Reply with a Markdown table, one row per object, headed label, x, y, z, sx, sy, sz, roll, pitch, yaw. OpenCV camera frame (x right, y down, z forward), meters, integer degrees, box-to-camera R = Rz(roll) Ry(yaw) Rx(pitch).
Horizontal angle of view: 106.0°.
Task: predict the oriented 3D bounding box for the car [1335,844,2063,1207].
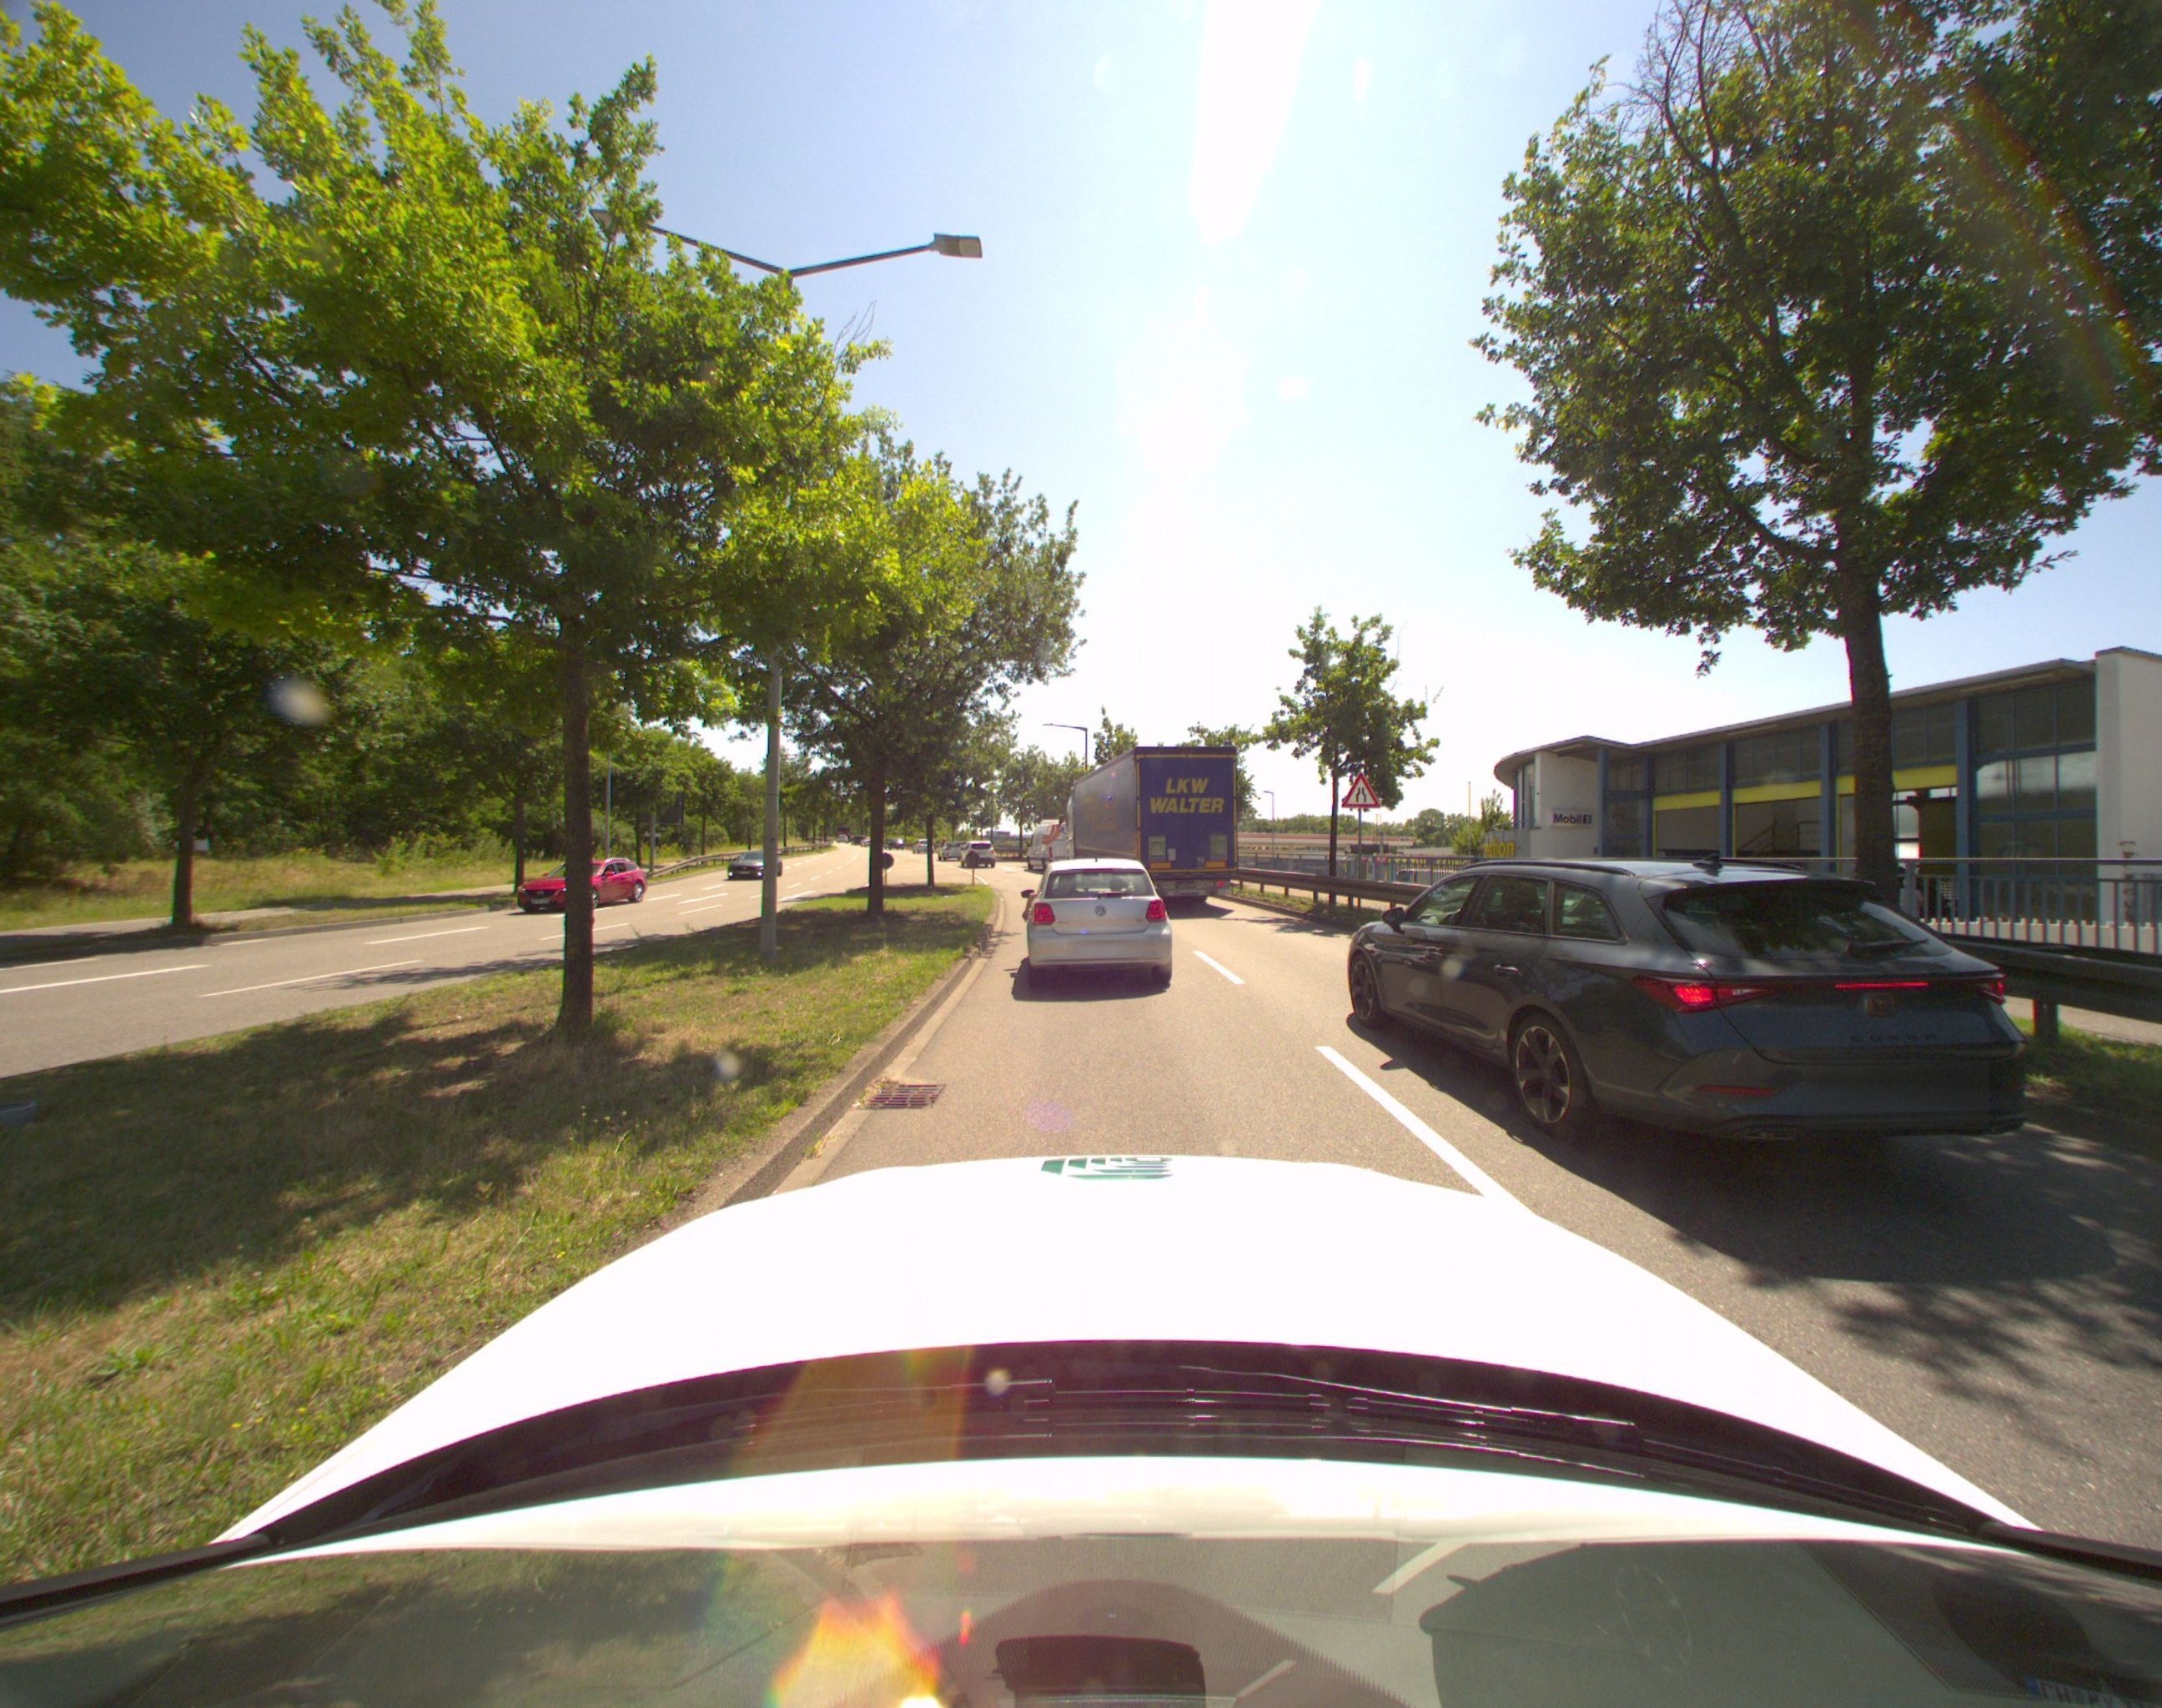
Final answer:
| label | x | y | z | sx | sy | sz | roll | pitch | yaw |
| --- | --- | --- | --- | --- | --- | --- | --- | --- | --- |
| car | 3.173 | 0.709 | 5.423 | 1.600 | 1.456 | 4.233 | 0 | -1 | -1 |

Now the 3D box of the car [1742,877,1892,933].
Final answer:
| label | x | y | z | sx | sy | sz | roll | pitch | yaw |
| --- | --- | --- | --- | --- | --- | --- | --- | --- | --- |
| car | 23.745 | 1.605 | 26.323 | 3.665 | 1.684 | 1.646 | 0 | -1 | -8 |

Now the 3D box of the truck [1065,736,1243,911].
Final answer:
| label | x | y | z | sx | sy | sz | roll | pitch | yaw |
| --- | --- | --- | --- | --- | --- | --- | --- | --- | --- |
| truck | 1.643 | -0.755 | 27.971 | 2.830 | 4.198 | 16.436 | 0 | 0 | -7 |

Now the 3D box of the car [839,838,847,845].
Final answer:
| label | x | y | z | sx | sy | sz | roll | pitch | yaw |
| --- | --- | --- | --- | --- | --- | --- | --- | --- | --- |
| car | -43.535 | -2.339 | 148.856 | 1.324 | 1.139 | 2.978 | 0 | -1 | -17 |

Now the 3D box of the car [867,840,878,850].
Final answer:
| label | x | y | z | sx | sy | sz | roll | pitch | yaw |
| --- | --- | --- | --- | --- | --- | --- | --- | --- | --- |
| car | -29.625 | -1.269 | 115.714 | 1.459 | 1.314 | 3.618 | 0 | -1 | -16 |

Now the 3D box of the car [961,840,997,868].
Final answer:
| label | x | y | z | sx | sy | sz | roll | pitch | yaw |
| --- | --- | --- | --- | --- | --- | --- | --- | --- | --- |
| car | -6.548 | 0.028 | 51.969 | 1.906 | 1.718 | 4.204 | 0 | -1 | -13 |

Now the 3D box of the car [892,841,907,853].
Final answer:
| label | x | y | z | sx | sy | sz | roll | pitch | yaw |
| --- | --- | --- | --- | --- | --- | --- | --- | --- | --- |
| car | -22.795 | -0.857 | 102.111 | 1.668 | 1.465 | 3.561 | 0 | -1 | -16 |

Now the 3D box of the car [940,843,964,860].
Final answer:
| label | x | y | z | sx | sy | sz | roll | pitch | yaw |
| --- | --- | --- | --- | --- | --- | --- | --- | --- | --- |
| car | -10.274 | -0.212 | 64.652 | 1.497 | 1.360 | 3.643 | 0 | 0 | -16 |

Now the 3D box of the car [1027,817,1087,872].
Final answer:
| label | x | y | z | sx | sy | sz | roll | pitch | yaw |
| --- | --- | --- | --- | --- | --- | --- | --- | --- | --- |
| car | -1.439 | -0.551 | 45.727 | 2.178 | 2.900 | 6.330 | 0 | 1 | -13 |

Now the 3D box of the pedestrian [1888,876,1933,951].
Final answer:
| label | x | y | z | sx | sy | sz | roll | pitch | yaw |
| --- | --- | --- | --- | --- | --- | --- | --- | --- | --- |
| pedestrian | 19.383 | 1.376 | 19.036 | 0.425 | 1.703 | 0.589 | 0 | -1 | -4 |

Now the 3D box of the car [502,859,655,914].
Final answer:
| label | x | y | z | sx | sy | sz | roll | pitch | yaw |
| --- | --- | --- | --- | --- | --- | --- | --- | --- | --- |
| car | -14.983 | 0.912 | 24.624 | 1.825 | 1.437 | 4.524 | -2 | -1 | -1 |

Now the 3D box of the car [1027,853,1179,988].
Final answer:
| label | x | y | z | sx | sy | sz | roll | pitch | yaw |
| --- | --- | --- | --- | --- | --- | --- | --- | --- | --- |
| car | 0.169 | 0.728 | 10.551 | 1.642 | 1.439 | 3.533 | 0 | -1 | -3 |

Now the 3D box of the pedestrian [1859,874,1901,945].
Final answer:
| label | x | y | z | sx | sy | sz | roll | pitch | yaw |
| --- | --- | --- | --- | --- | --- | --- | --- | --- | --- |
| pedestrian | 19.371 | 1.331 | 19.754 | 0.520 | 1.703 | 0.488 | 0 | -1 | -3 |

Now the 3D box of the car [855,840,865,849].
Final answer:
| label | x | y | z | sx | sy | sz | roll | pitch | yaw |
| --- | --- | --- | --- | --- | --- | --- | --- | --- | --- |
| car | -34.485 | -1.424 | 127.054 | 1.420 | 1.314 | 3.319 | 0 | -1 | -16 |

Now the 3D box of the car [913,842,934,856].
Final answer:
| label | x | y | z | sx | sy | sz | roll | pitch | yaw |
| --- | --- | --- | --- | --- | --- | --- | --- | --- | --- |
| car | -16.584 | -0.510 | 85.674 | 1.614 | 1.360 | 3.637 | 0 | 0 | -21 |

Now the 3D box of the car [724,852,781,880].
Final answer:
| label | x | y | z | sx | sy | sz | roll | pitch | yaw |
| --- | --- | --- | --- | --- | --- | --- | --- | --- | --- |
| car | -16.593 | 0.586 | 41.292 | 1.810 | 1.333 | 4.552 | 0 | -1 | -11 |
